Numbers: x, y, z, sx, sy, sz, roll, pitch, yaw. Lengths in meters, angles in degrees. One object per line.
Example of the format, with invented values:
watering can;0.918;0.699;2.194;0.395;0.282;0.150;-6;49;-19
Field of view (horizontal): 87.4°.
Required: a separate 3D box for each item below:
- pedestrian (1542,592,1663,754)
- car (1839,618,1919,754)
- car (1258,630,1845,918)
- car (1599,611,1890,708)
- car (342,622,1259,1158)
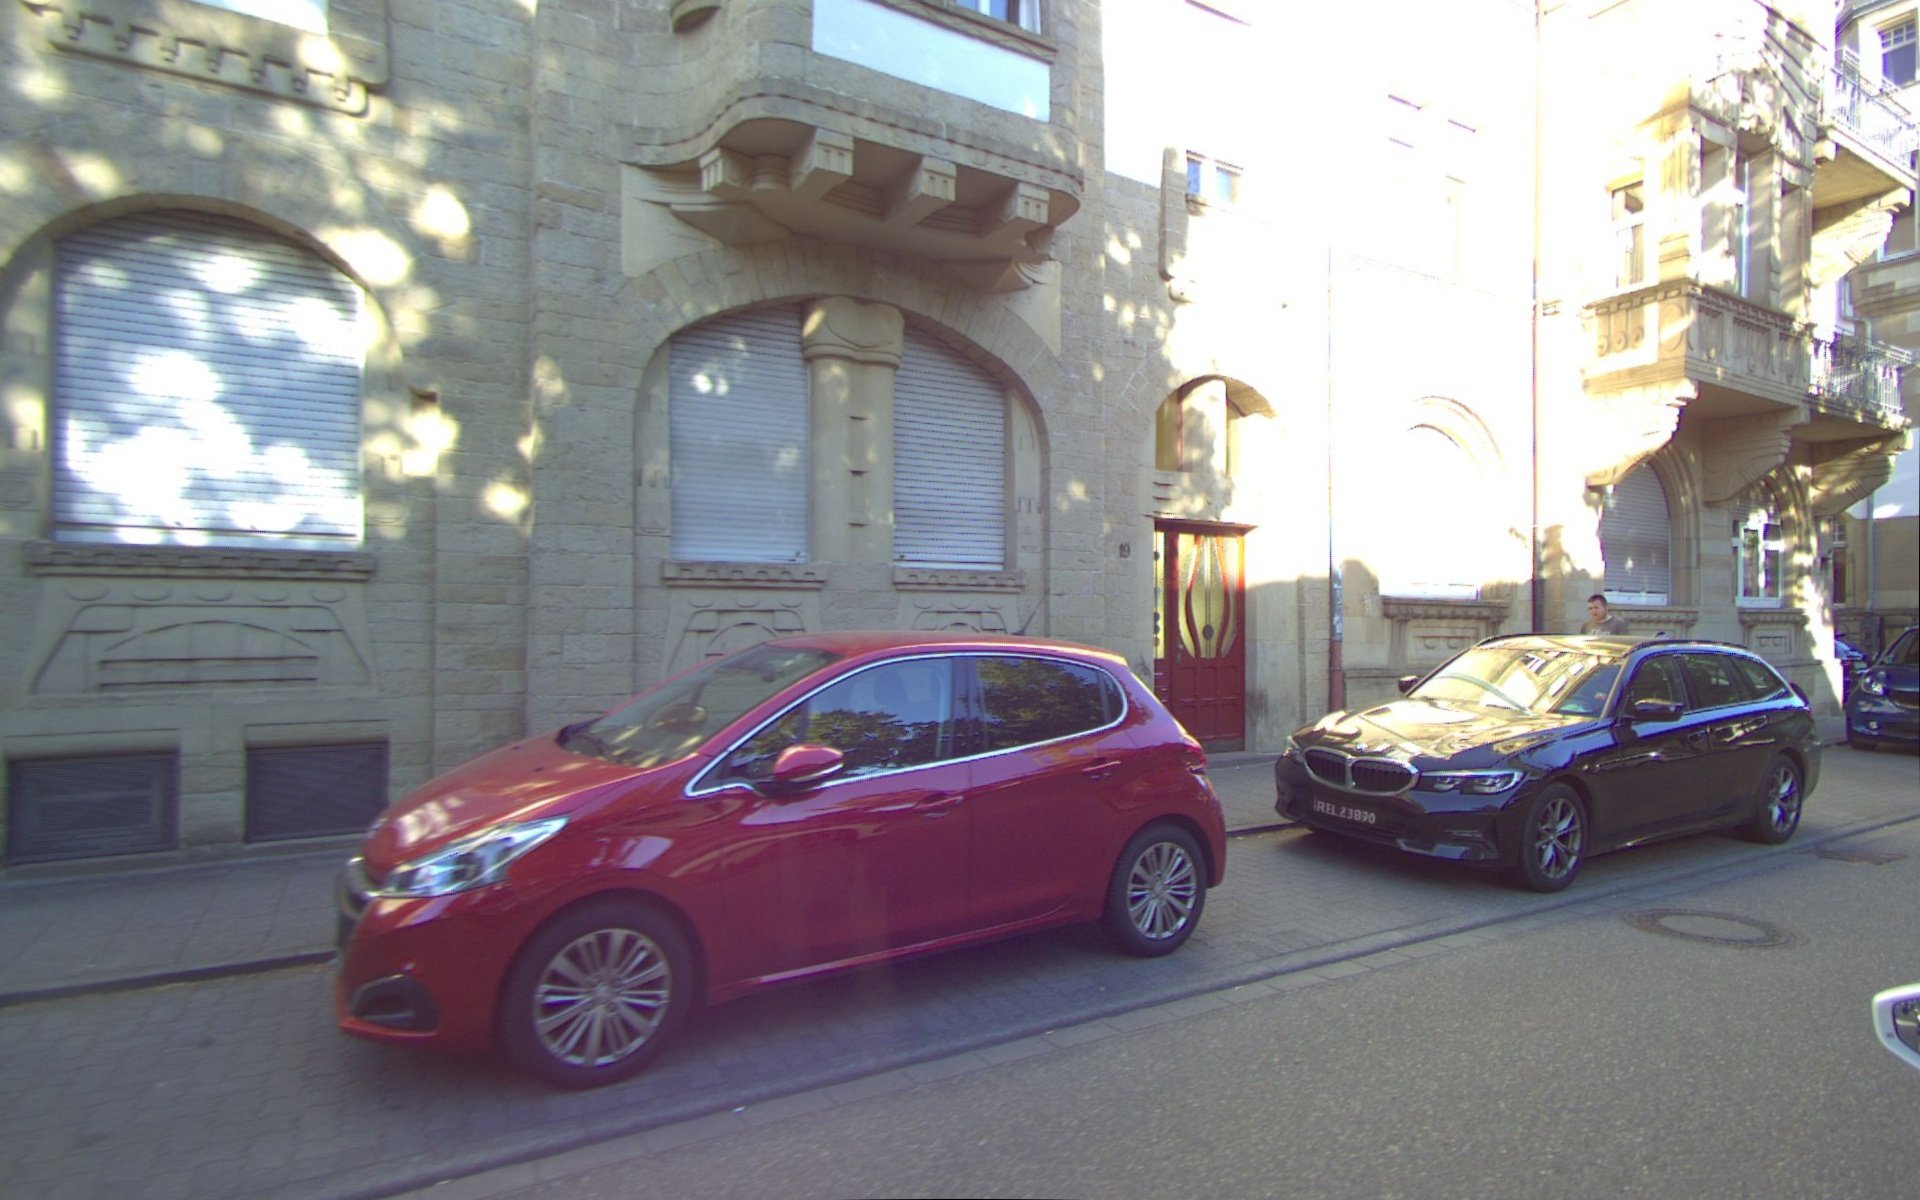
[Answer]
pedestrian;7.378;0.810;11.556;0.726;1.765;0.934;1;0;-30
car;12.122;1.012;12.063;2.706;1.509;1.587;0;2;-32
car;4.408;1.002;7.290;4.496;1.449;1.667;0;1;-30
car;15.165;1.069;19.664;1.699;1.690;4.178;1;-1;-31
car;-0.563;0.853;4.551;3.796;1.473;1.619;1;0;-33
